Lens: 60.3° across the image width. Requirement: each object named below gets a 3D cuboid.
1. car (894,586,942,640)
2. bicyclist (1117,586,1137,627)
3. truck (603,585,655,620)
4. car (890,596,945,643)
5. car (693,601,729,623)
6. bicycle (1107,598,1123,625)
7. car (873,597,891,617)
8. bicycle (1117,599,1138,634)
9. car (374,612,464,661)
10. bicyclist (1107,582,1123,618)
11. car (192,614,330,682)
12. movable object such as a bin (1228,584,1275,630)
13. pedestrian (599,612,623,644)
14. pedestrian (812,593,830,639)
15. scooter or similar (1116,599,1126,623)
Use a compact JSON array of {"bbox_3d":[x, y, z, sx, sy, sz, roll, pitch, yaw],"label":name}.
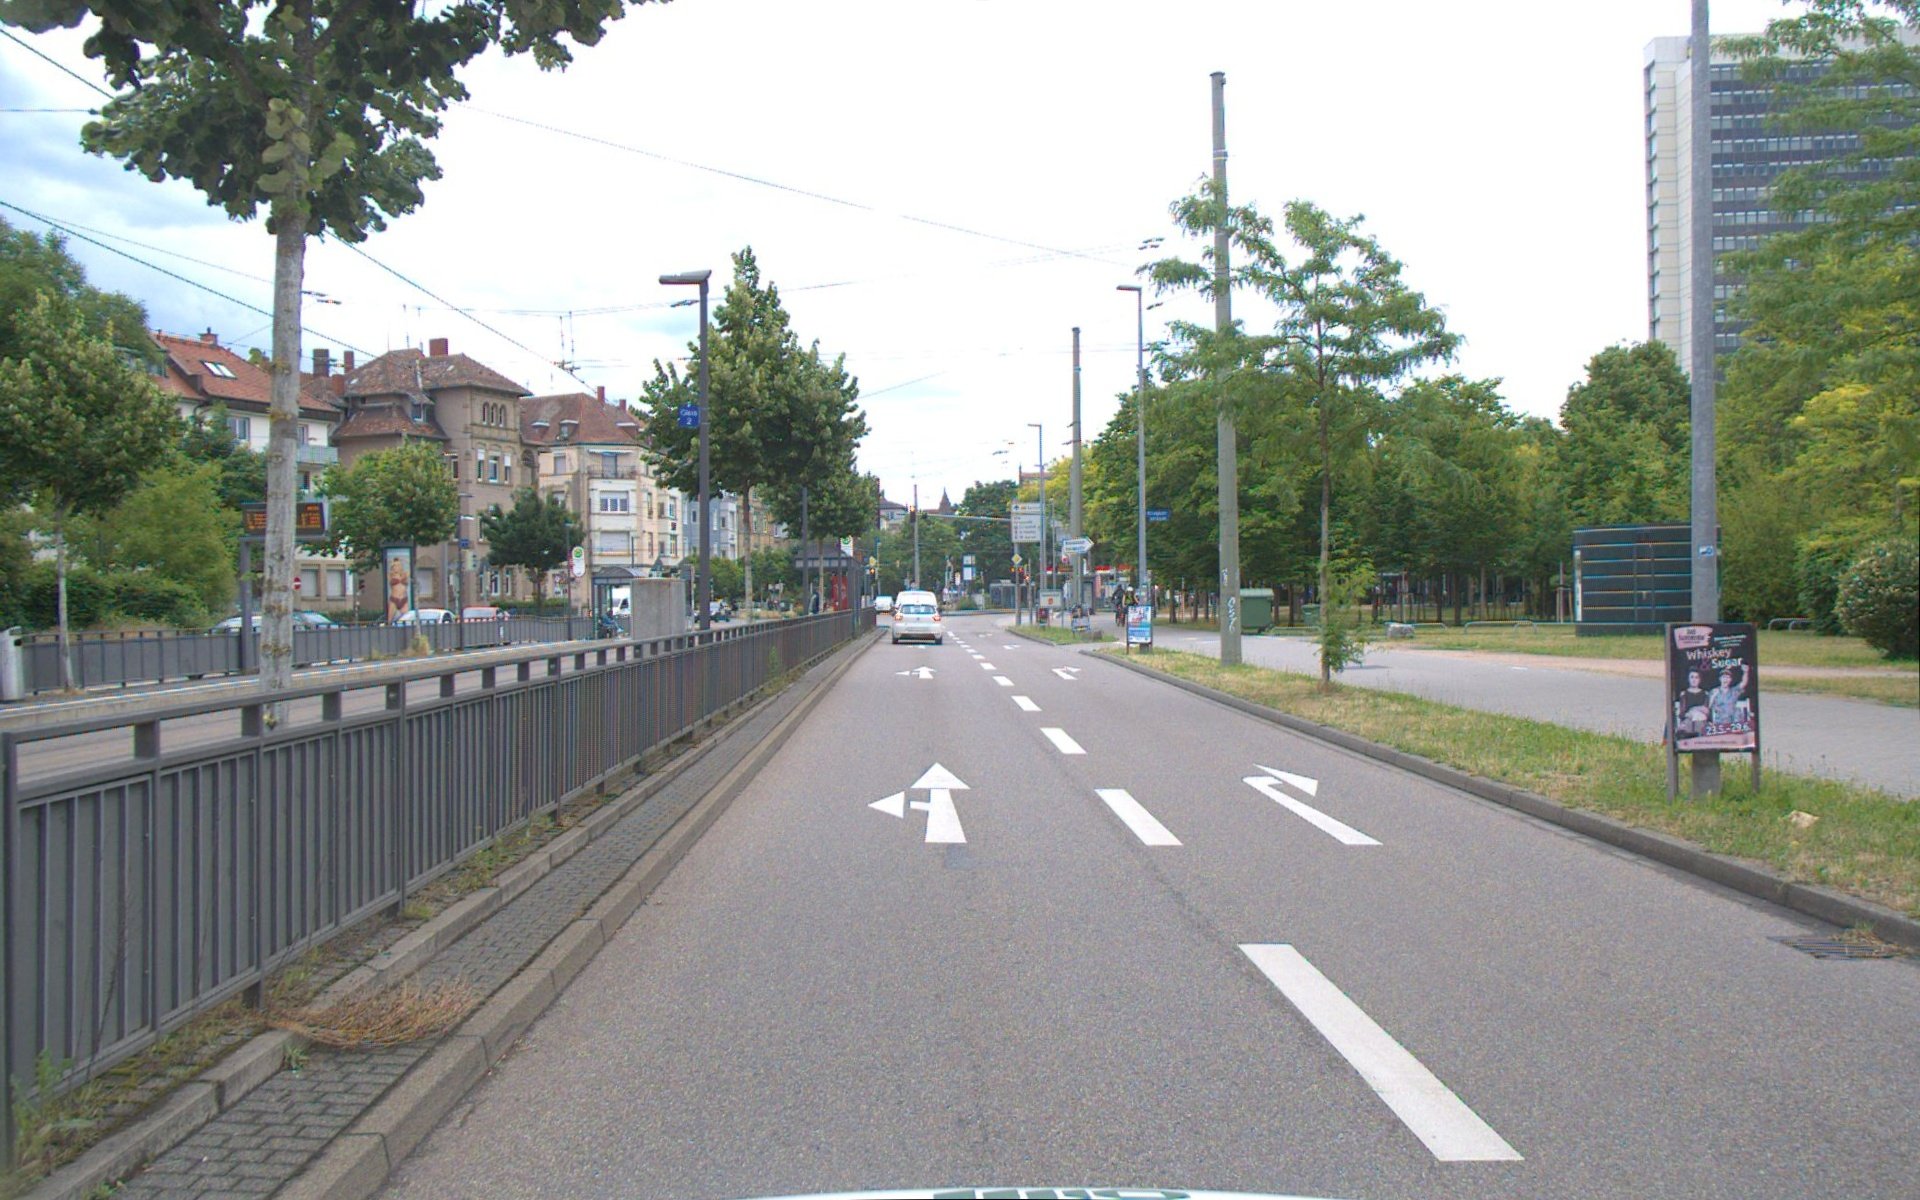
[{"bbox_3d":[-1.650,0.475,64.337,1.746,1.997,4.380,-1,0,-2],"label":"car"},{"bbox_3d":[5.834,0.240,57.827,0.665,1.404,0.728,-2,0,5],"label":"bicyclist"},{"bbox_3d":[-20.687,0.170,103.526,1.750,2.068,5.398,-1,-1,5],"label":"truck"},{"bbox_3d":[-1.423,0.641,56.430,1.746,1.498,4.010,-1,0,0],"label":"car"},{"bbox_3d":[-17.790,0.839,118.312,1.733,1.519,3.889,-1,-1,5],"label":"car"},{"bbox_3d":[6.837,0.498,72.751,0.664,1.175,1.899,-2,0,6],"label":"bicycle"},{"bbox_3d":[-7.849,0.687,166.356,1.734,1.907,3.885,-1,-1,-2],"label":"car"},{"bbox_3d":[5.846,0.564,57.935,0.665,1.175,1.899,-2,0,5],"label":"bicycle"},{"bbox_3d":[-17.687,1.170,54.265,1.734,1.519,3.885,-1,-1,-2],"label":"car"},{"bbox_3d":[6.828,0.015,72.825,0.665,1.564,0.673,-2,0,6],"label":"bicyclist"},{"bbox_3d":[-16.799,1.126,39.949,1.734,1.519,3.885,-1,-1,-2],"label":"car"},{"bbox_3d":[9.295,0.236,52.802,1.256,1.414,1.159,-1,-1,-1],"label":"movable object such as a bin"},{"bbox_3d":[-14.783,1.176,70.064,0.848,1.289,0.693,-2,0,-4],"label":"pedestrian"},{"bbox_3d":[-4.572,0.529,54.420,0.565,1.507,0.617,-2,0,-4],"label":"pedestrian"},{"bbox_3d":[7.703,0.521,78.979,0.368,1.161,1.200,-2,0,9],"label":"scooter or similar"}]
